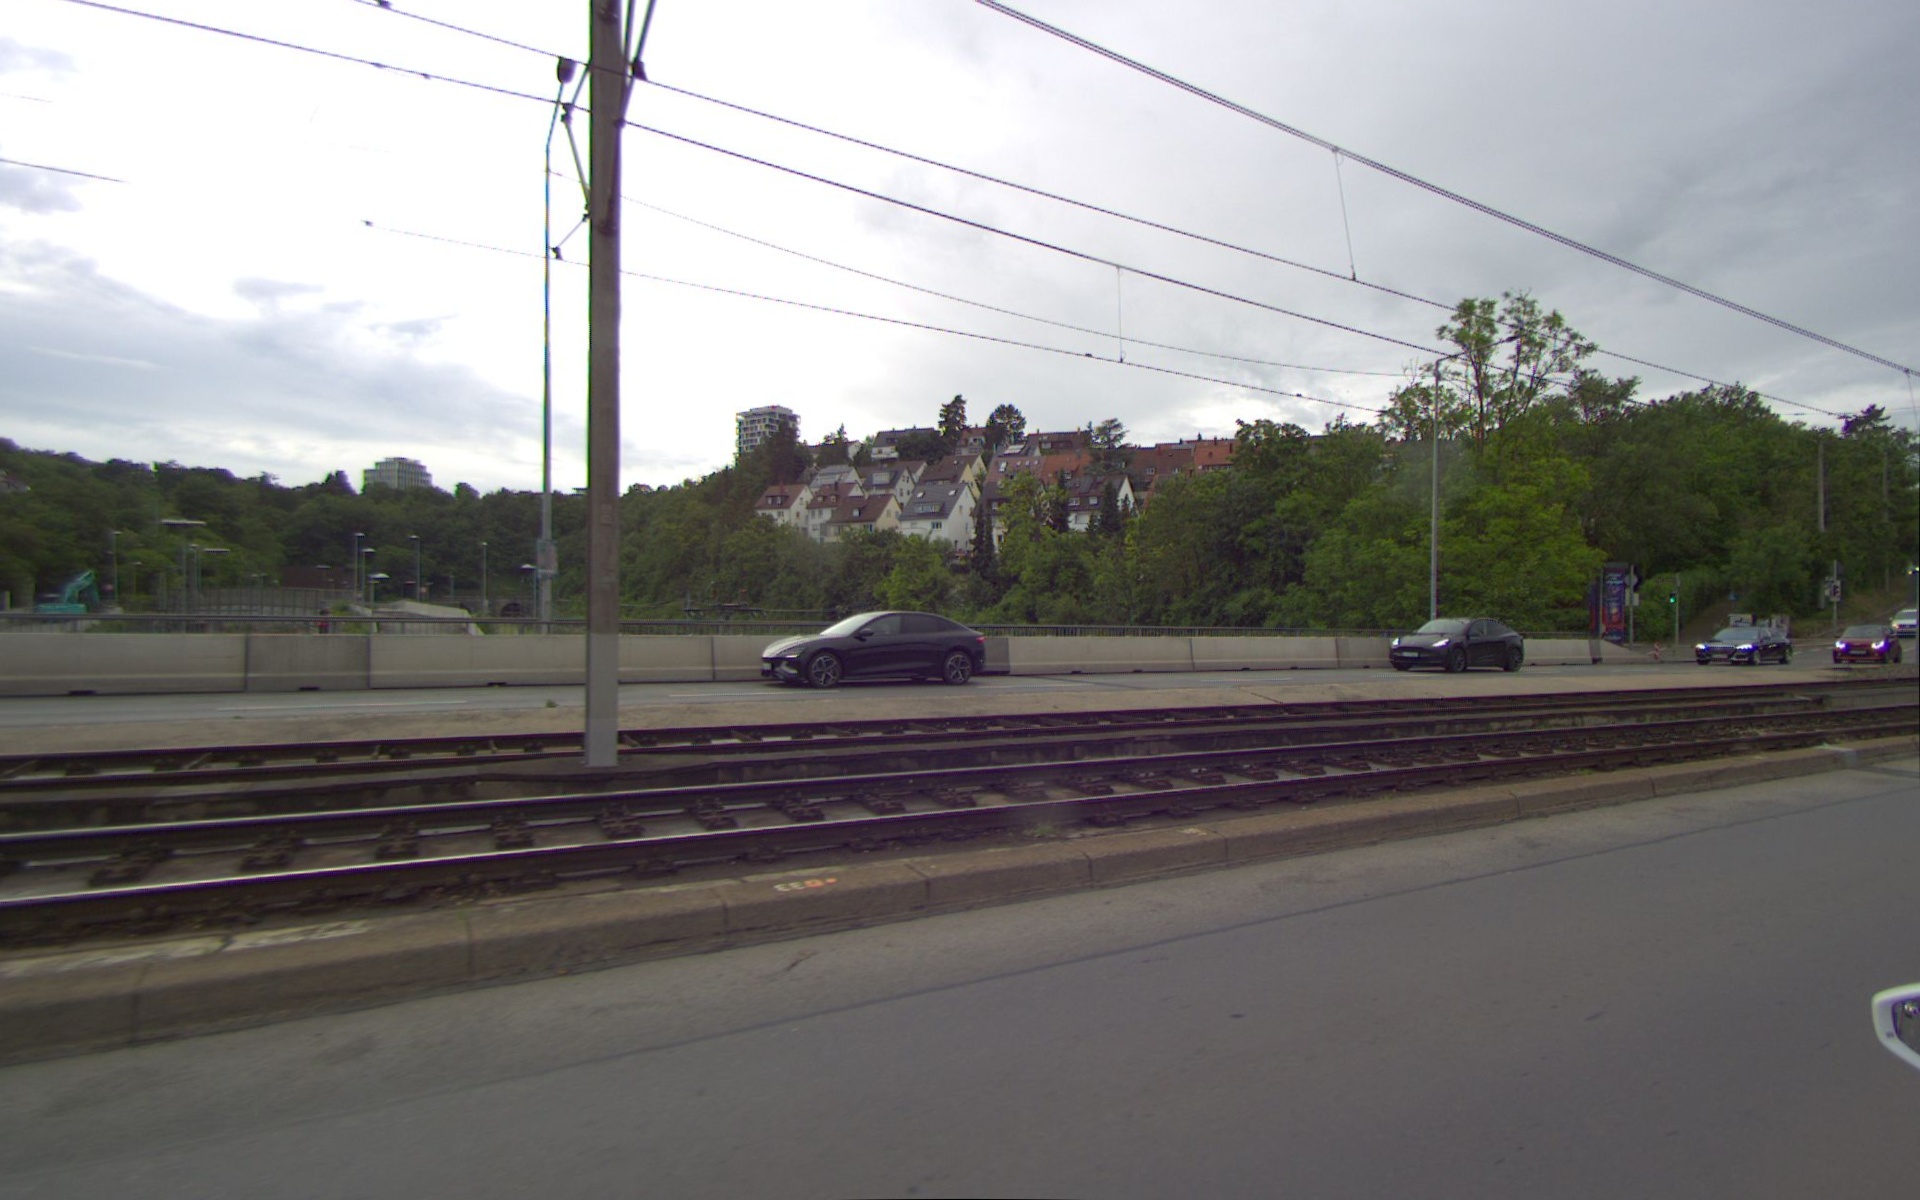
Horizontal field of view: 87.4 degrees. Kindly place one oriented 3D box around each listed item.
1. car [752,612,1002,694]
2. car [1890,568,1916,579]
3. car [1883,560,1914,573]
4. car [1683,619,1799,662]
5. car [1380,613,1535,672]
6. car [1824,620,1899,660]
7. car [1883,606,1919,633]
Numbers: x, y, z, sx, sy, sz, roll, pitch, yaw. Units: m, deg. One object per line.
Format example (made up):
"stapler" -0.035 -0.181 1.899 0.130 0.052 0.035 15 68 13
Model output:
"car" -1.615 0.997 20.141 4.685 1.455 1.808 1 0 -30
"car" 124.736 -3.511 132.884 1.609 1.403 3.886 -3 0 30
"car" 118.889 -4.238 127.277 1.792 1.398 4.696 -2 1 29
"car" 31.134 1.621 40.009 5.125 1.618 1.959 2 -2 -31
"car" 14.715 1.210 29.637 4.677 1.618 1.887 0 -1 -31
"car" 36.584 1.604 40.769 2.986 1.513 1.591 -1 -1 -34
"car" 55.465 1.153 58.587 4.491 1.535 1.806 2 -1 -39
